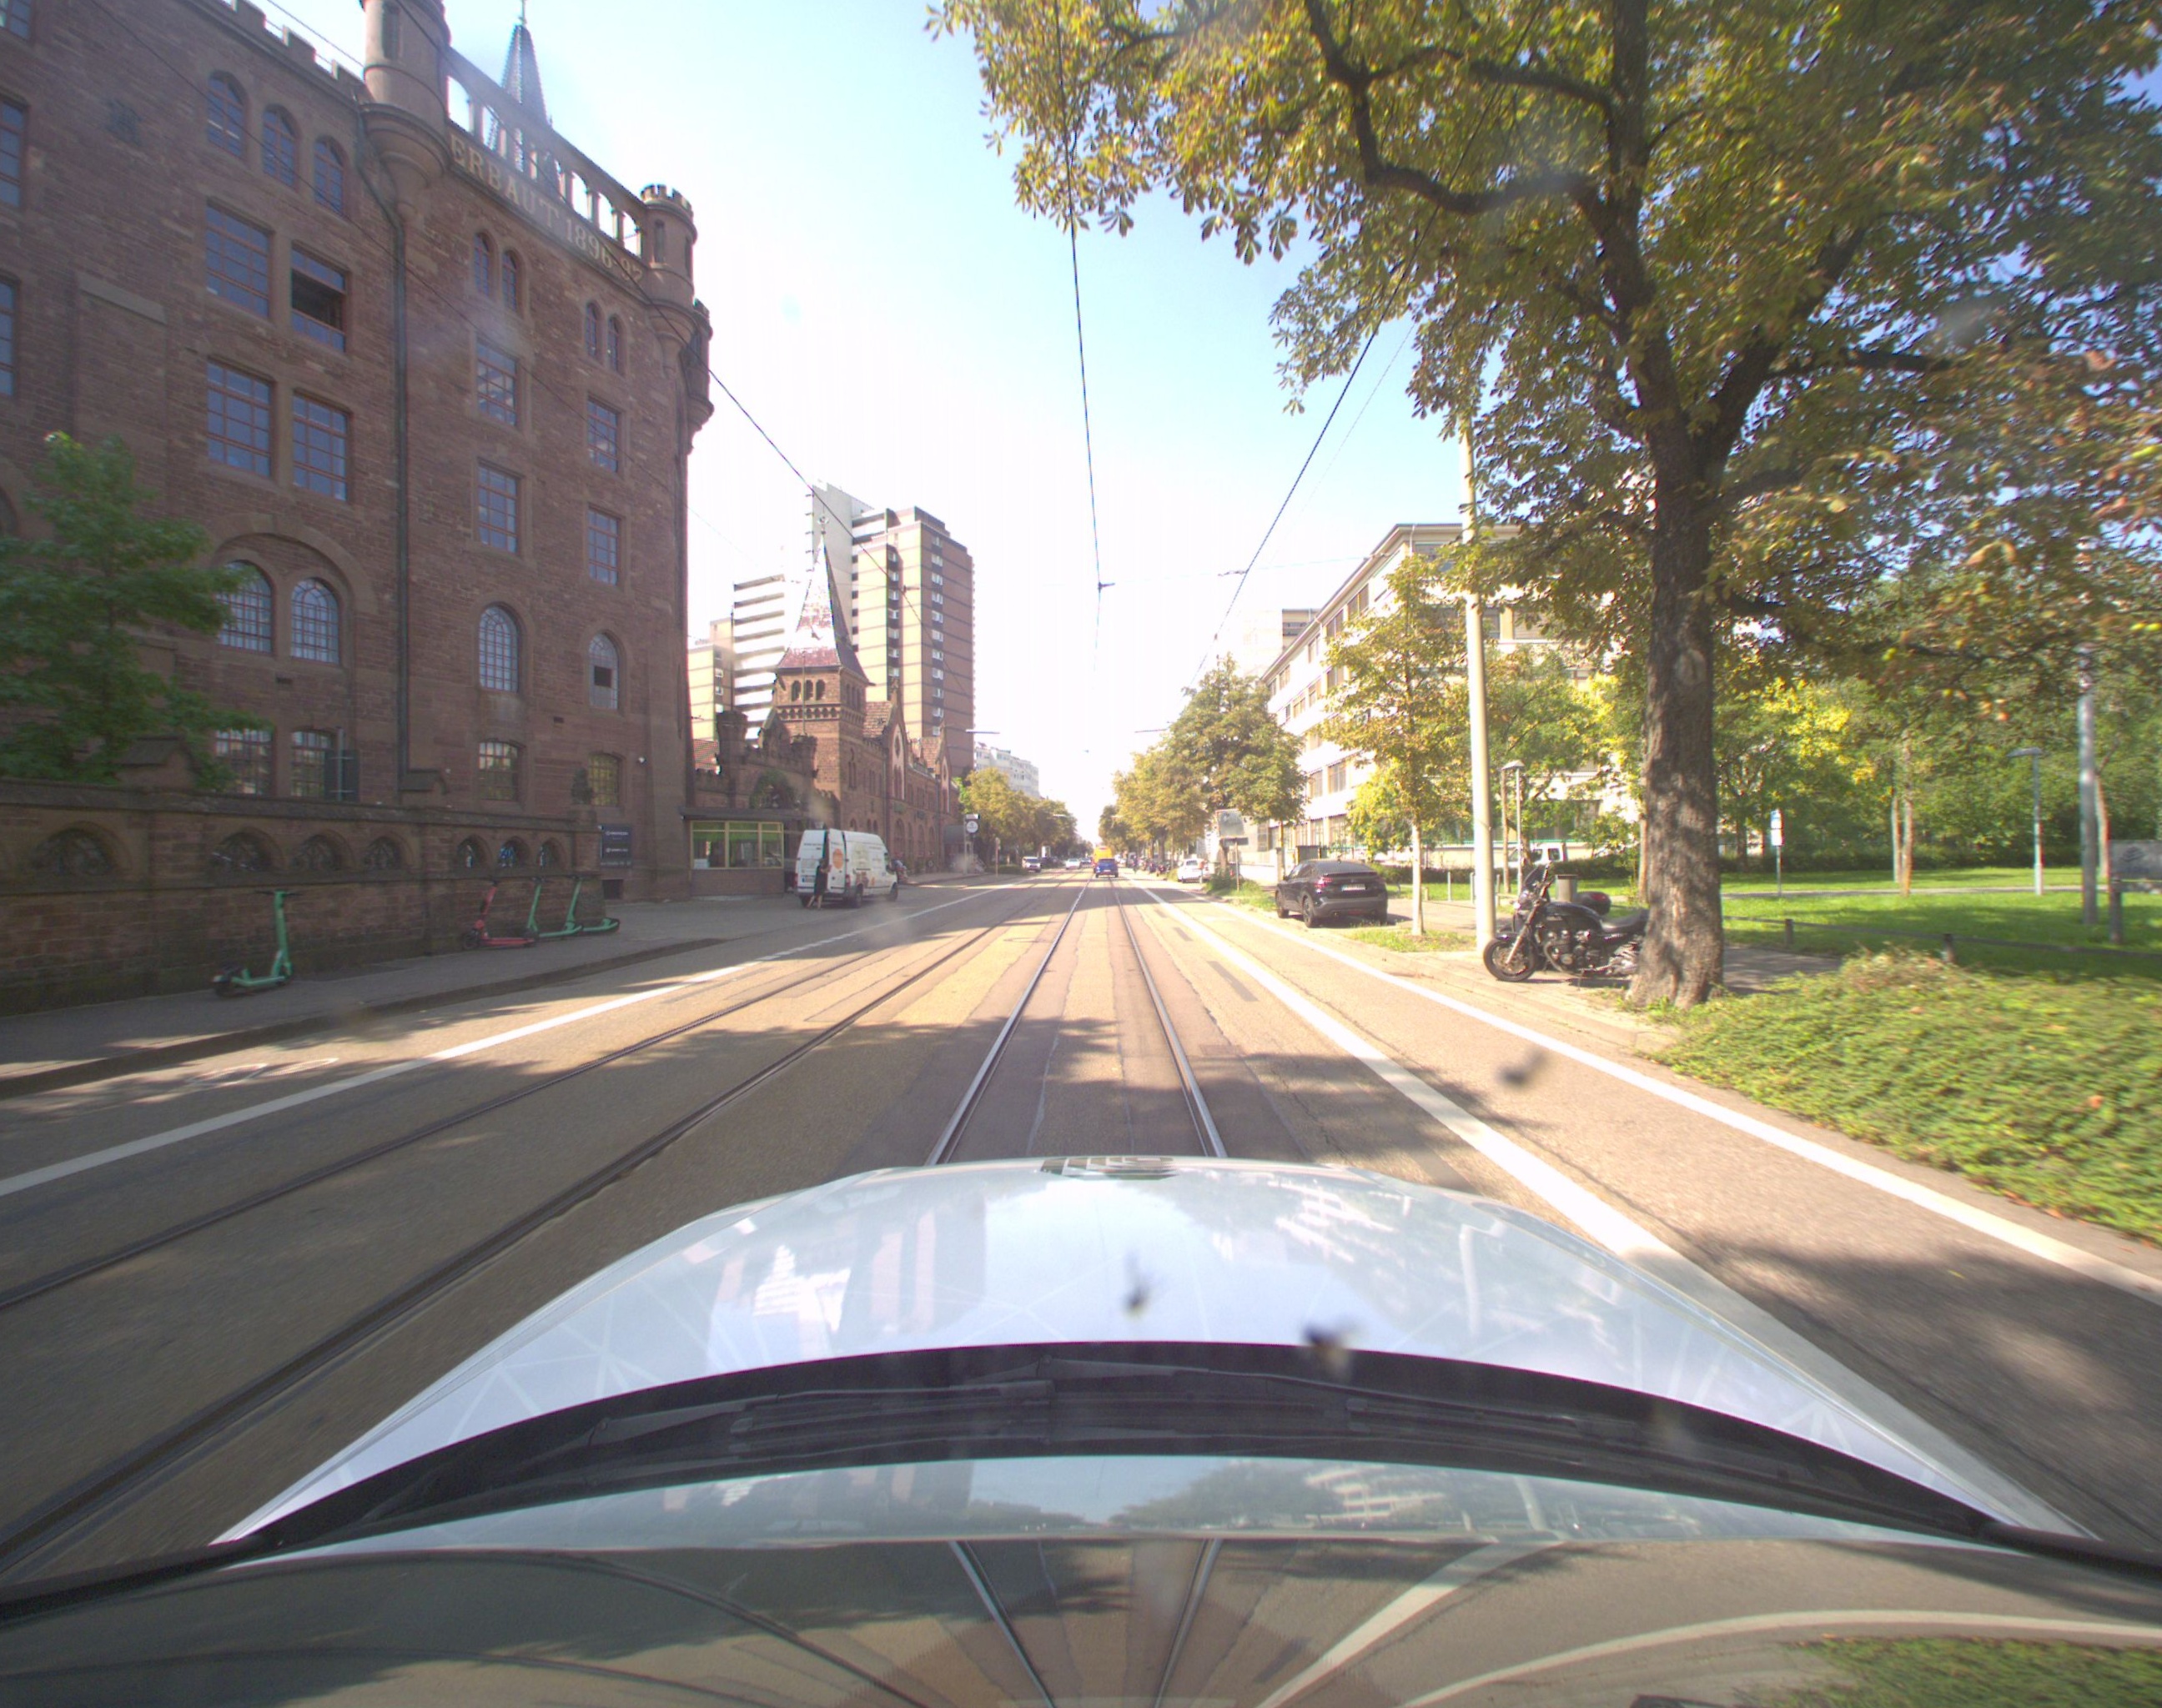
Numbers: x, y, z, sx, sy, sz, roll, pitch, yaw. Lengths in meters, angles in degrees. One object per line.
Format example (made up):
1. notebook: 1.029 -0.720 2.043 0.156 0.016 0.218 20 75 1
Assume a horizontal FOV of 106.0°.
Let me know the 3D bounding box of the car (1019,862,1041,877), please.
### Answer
1. car: -6.164 1.856 97.858 1.751 1.796 3.977 0 -1 -17

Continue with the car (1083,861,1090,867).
1. car: 1.534 2.695 216.365 1.774 1.684 4.347 0 -1 0

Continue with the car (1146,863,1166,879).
1. car: 7.397 1.693 80.760 1.736 1.556 4.218 -1 -1 2

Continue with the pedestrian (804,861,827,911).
1. pedestrian: -8.524 1.012 26.159 0.555 1.599 0.493 0 -1 -37

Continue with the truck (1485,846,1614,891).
1. truck: 24.790 0.761 43.255 5.485 2.326 2.300 0 -1 2

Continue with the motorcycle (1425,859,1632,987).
1. motorcycle: 5.917 0.835 10.986 0.854 1.516 2.436 0 -1 -23

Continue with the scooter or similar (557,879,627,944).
1. scooter or similar: -9.535 1.101 15.914 0.336 1.179 1.185 -1 -1 27

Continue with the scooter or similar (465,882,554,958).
1. scooter or similar: -9.525 1.079 13.607 0.336 1.179 1.185 -1 -1 27

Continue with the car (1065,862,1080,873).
1. car: -1.173 1.818 111.108 1.839 1.492 4.869 -1 -1 2

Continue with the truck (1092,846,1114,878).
1. truck: 2.258 0.800 83.611 2.128 3.124 6.086 -1 -1 2

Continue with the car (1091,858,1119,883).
1. car: 1.895 1.256 64.606 2.128 1.858 5.570 -1 -1 2

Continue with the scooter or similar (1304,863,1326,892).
1. scooter or similar: 10.263 1.011 35.699 0.553 1.259 1.820 0 -1 4

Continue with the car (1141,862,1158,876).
1. car: 7.877 1.738 93.856 1.628 1.585 4.188 0 -1 0

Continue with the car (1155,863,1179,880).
1. car: 7.266 1.465 69.210 1.653 1.408 4.218 -1 -1 2

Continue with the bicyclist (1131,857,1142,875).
1. bicyclist: 5.511 1.165 80.752 1.028 1.812 1.016 0 -1 1

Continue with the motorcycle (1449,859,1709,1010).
1. motorcycle: 5.606 0.820 9.290 2.423 1.516 0.858 -1 -1 40

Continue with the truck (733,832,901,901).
1. truck: -11.056 0.492 34.360 6.289 2.538 2.134 3 1 6

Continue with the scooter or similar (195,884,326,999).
1. scooter or similar: -9.311 0.948 9.302 0.421 1.179 1.310 0 -1 -14

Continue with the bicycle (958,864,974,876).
1. bicycle: -10.935 1.520 77.321 1.447 1.093 0.399 3 -1 -3

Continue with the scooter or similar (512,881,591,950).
1. scooter or similar: -9.582 1.090 14.780 0.336 1.179 1.185 -1 -1 27

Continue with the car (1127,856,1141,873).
1. car: 8.774 1.662 135.069 1.987 2.756 5.761 0 -1 0

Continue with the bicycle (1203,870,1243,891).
1. bicycle: 6.620 1.252 38.069 1.805 0.958 0.558 0 -1 1

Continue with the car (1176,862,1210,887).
1. car: 6.923 1.257 50.828 1.653 1.481 4.218 -1 -1 2

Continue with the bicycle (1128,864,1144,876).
1. bicycle: 5.476 1.543 80.744 1.396 1.134 4.001 0 -1 1

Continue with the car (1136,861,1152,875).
1. car: 8.068 1.790 103.951 1.734 1.668 4.361 0 -1 0

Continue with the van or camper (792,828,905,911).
1. van or camper: -8.216 0.529 29.467 2.104 2.675 5.959 0 -1 3

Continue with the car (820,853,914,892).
1. car: -10.791 0.938 41.330 4.120 1.744 2.001 3 -1 2

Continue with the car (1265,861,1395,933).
1. car: 5.922 0.954 19.953 1.750 1.515 4.608 -2 -1 0
